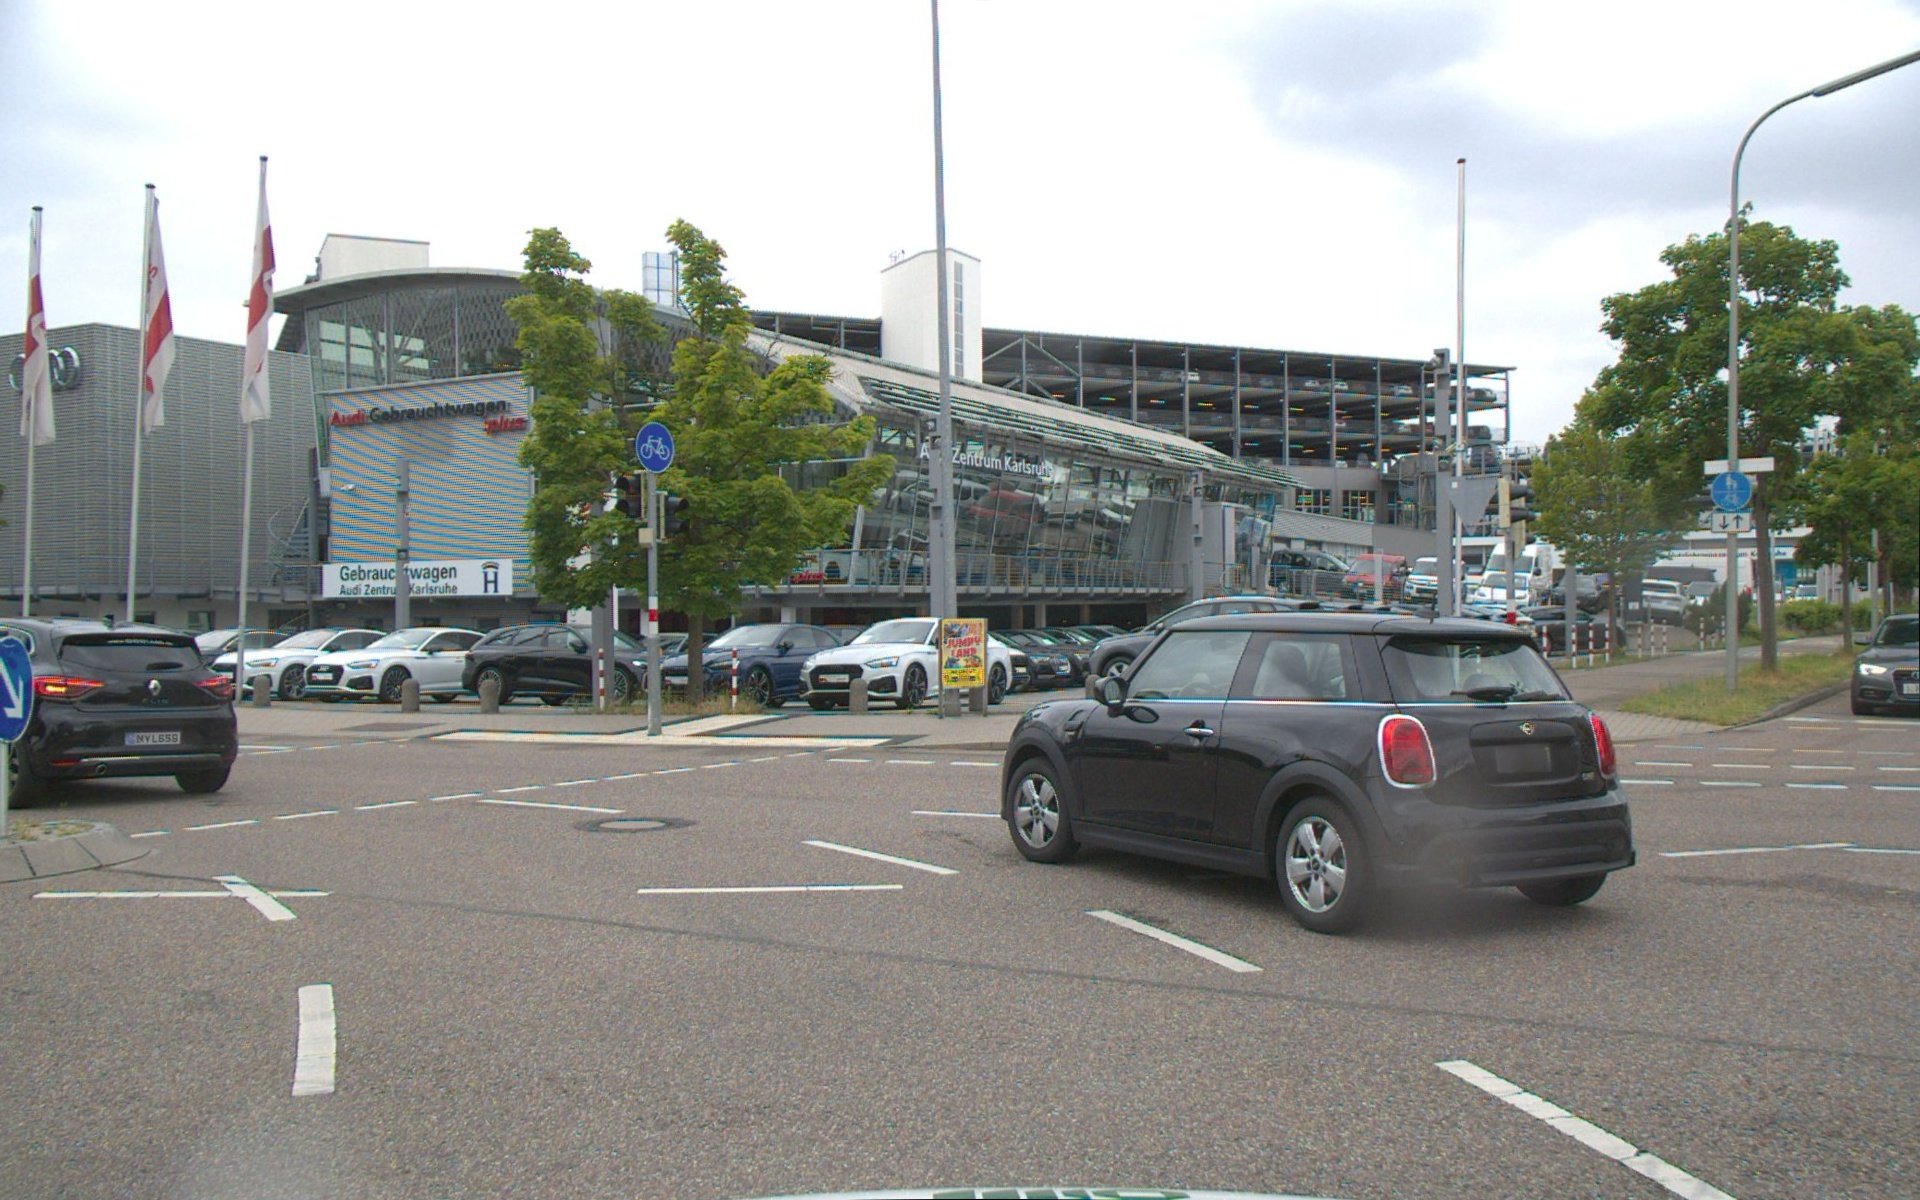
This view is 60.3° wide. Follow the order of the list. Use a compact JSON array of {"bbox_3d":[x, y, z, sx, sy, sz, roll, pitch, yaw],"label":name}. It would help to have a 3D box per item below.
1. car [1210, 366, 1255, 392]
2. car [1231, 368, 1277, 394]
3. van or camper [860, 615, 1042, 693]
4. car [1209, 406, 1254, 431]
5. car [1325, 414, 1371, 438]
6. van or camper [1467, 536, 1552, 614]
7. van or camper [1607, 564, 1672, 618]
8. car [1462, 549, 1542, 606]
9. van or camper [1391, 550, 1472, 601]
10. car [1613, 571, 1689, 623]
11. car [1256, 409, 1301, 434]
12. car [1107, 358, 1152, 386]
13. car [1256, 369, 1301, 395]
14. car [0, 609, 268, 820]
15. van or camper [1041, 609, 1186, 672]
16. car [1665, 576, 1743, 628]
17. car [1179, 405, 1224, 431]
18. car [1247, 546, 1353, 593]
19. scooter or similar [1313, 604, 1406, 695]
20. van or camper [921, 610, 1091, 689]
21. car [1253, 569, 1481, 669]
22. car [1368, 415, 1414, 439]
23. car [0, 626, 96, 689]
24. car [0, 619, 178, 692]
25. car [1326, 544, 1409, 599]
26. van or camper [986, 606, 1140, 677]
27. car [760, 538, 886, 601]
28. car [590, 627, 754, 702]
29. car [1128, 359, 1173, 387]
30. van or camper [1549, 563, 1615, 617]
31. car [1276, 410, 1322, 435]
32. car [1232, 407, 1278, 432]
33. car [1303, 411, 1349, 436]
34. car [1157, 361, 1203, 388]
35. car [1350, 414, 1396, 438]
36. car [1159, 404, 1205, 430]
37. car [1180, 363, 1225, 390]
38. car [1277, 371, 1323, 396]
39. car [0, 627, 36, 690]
[{"bbox_3d":[23.307,-18.895,141.515,1.969,1.696,3.967,0,0,-26],"label":"car"},{"bbox_3d":[25.316,-18.846,142.603,1.969,1.696,3.967,0,0,-26],"label":"car"},{"bbox_3d":[-0.230,1.274,39.930,3.911,1.707,1.997,1,0,29],"label":"van or camper"},{"bbox_3d":[23.198,-15.506,141.427,1.969,1.696,3.967,0,0,-26],"label":"car"},{"bbox_3d":[34.505,-15.468,147.280,1.969,1.696,3.967,0,0,-26],"label":"car"},{"bbox_3d":[22.768,-0.992,68.424,2.487,3.079,4.836,1,0,28],"label":"van or camper"},{"bbox_3d":[26.992,-0.345,65.621,1.956,2.049,3.994,1,0,28],"label":"van or camper"},{"bbox_3d":[18.832,-0.774,57.348,1.956,1.855,3.994,1,0,28],"label":"car"},{"bbox_3d":[16.734,-0.848,58.560,1.955,1.680,3.994,1,0,28],"label":"van or camper"},{"bbox_3d":[22.959,-0.071,54.874,1.956,1.646,3.994,1,0,28],"label":"car"},{"bbox_3d":[27.648,-15.522,143.677,1.969,1.696,3.967,0,0,-26],"label":"car"},{"bbox_3d":[14.039,-18.837,136.882,1.969,1.696,3.967,0,0,-26],"label":"car"},{"bbox_3d":[27.671,-18.978,143.812,1.969,1.696,3.967,0,0,-26],"label":"car"},{"bbox_3d":[-7.633,0.832,13.738,3.921,1.459,1.756,0,0,37],"label":"car"},{"bbox_3d":[4.573,1.181,49.331,3.911,1.741,1.844,1,0,29],"label":"van or camper"},{"bbox_3d":[24.717,0.084,54.898,1.956,1.646,3.992,1,0,30],"label":"car"},{"bbox_3d":[20.514,-15.451,140.517,1.969,1.696,3.967,0,0,-26],"label":"car"},{"bbox_3d":[14.068,-1.277,68.446,3.913,1.870,1.756,1,0,30],"label":"car"},{"bbox_3d":[5.804,0.698,23.996,1.548,1.240,0.550,0,2,-44],"label":"scooter or similar"},{"bbox_3d":[1.169,1.216,42.150,3.911,1.847,1.844,1,0,29],"label":"van or camper"},{"bbox_3d":[9.252,0.466,37.653,4.679,2.049,1.998,-3,-2,26],"label":"car"},{"bbox_3d":[38.993,-15.608,149.565,1.969,1.696,3.967,0,0,-26],"label":"car"},{"bbox_3d":[-22.006,1.292,37.249,1.860,1.415,4.161,-1,-3,28],"label":"car"},{"bbox_3d":[-19.599,1.243,36.023,1.852,1.496,4.373,-1,-3,28],"label":"car"},{"bbox_3d":[14.839,-1.008,60.076,1.956,1.881,3.994,1,0,28],"label":"car"},{"bbox_3d":[2.888,1.152,46.654,3.911,1.847,1.844,1,0,29],"label":"van or camper"},{"bbox_3d":[-3.907,-0.855,47.846,1.784,1.691,3.995,1,0,27],"label":"car"},{"bbox_3d":[-7.190,1.562,41.655,1.770,1.725,4.312,1,0,28],"label":"car"},{"bbox_3d":[15.917,-18.945,138.101,1.969,1.696,3.967,0,0,-26],"label":"car"},{"bbox_3d":[25.079,-0.387,66.635,1.956,2.049,3.994,1,0,28],"label":"van or camper"},{"bbox_3d":[29.589,-15.502,144.620,1.969,1.696,3.967,0,0,-26],"label":"car"},{"bbox_3d":[25.419,-15.520,142.513,1.969,1.696,3.967,0,0,-26],"label":"car"},{"bbox_3d":[32.271,-15.574,145.935,1.969,1.696,3.967,0,0,-26],"label":"car"},{"bbox_3d":[18.498,-18.987,139.274,1.969,1.696,3.967,0,0,-26],"label":"car"},{"bbox_3d":[37.027,-15.571,148.508,1.969,1.696,3.967,0,0,-26],"label":"car"},{"bbox_3d":[18.683,-15.358,139.229,1.969,1.696,3.967,0,0,-26],"label":"car"},{"bbox_3d":[20.532,-18.939,140.175,1.969,1.696,3.967,0,0,-26],"label":"car"},{"bbox_3d":[29.688,-18.922,144.671,1.969,1.696,3.967,0,0,-26],"label":"car"},{"bbox_3d":[-24.330,1.320,38.488,1.806,1.498,4.657,0,-2,28],"label":"car"}]
